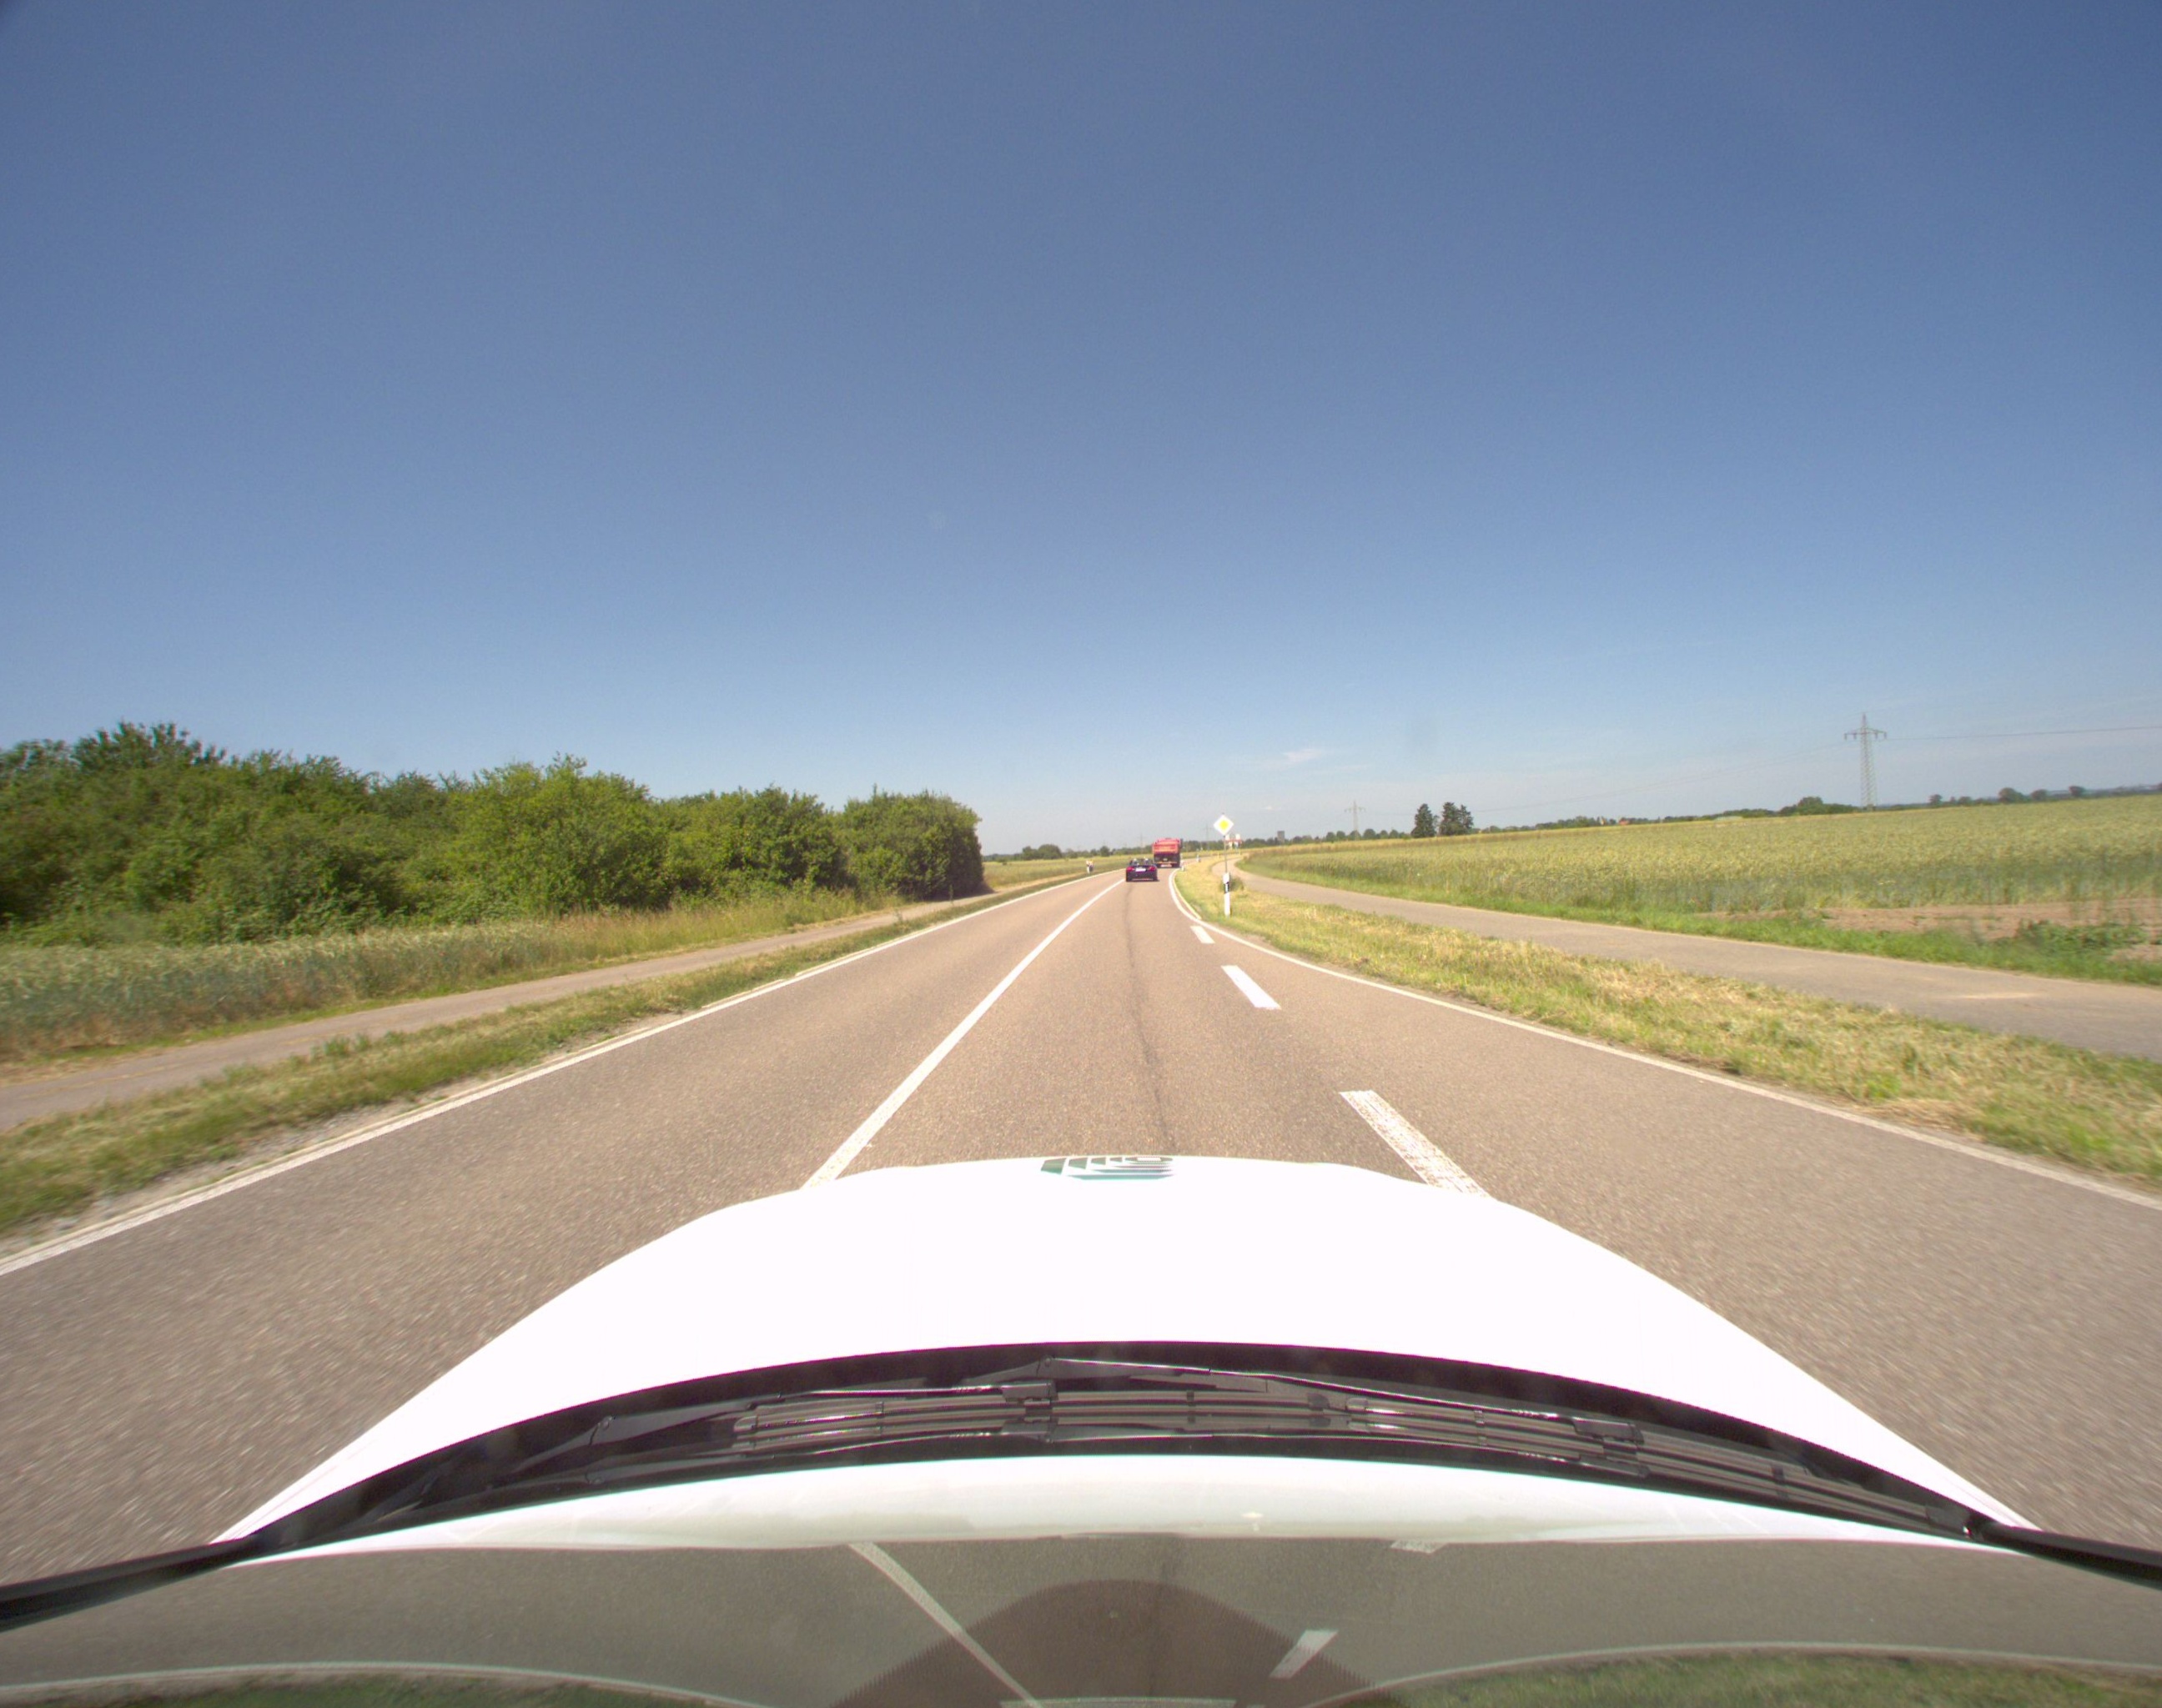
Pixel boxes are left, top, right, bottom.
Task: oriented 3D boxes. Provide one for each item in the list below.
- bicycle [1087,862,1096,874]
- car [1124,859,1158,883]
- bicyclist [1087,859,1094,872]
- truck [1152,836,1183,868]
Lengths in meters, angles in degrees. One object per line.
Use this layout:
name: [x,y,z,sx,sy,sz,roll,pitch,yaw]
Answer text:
bicycle: [1.196,1.603,93.767,0.690,1.176,1.968,-4,0,8]
car: [3.484,0.929,46.717,1.735,1.280,4.007,-2,0,6]
bicyclist: [1.124,1.337,93.684,0.660,1.438,0.825,-2,-1,8]
truck: [9.008,-0.212,84.570,2.923,3.089,7.209,-2,-1,6]
